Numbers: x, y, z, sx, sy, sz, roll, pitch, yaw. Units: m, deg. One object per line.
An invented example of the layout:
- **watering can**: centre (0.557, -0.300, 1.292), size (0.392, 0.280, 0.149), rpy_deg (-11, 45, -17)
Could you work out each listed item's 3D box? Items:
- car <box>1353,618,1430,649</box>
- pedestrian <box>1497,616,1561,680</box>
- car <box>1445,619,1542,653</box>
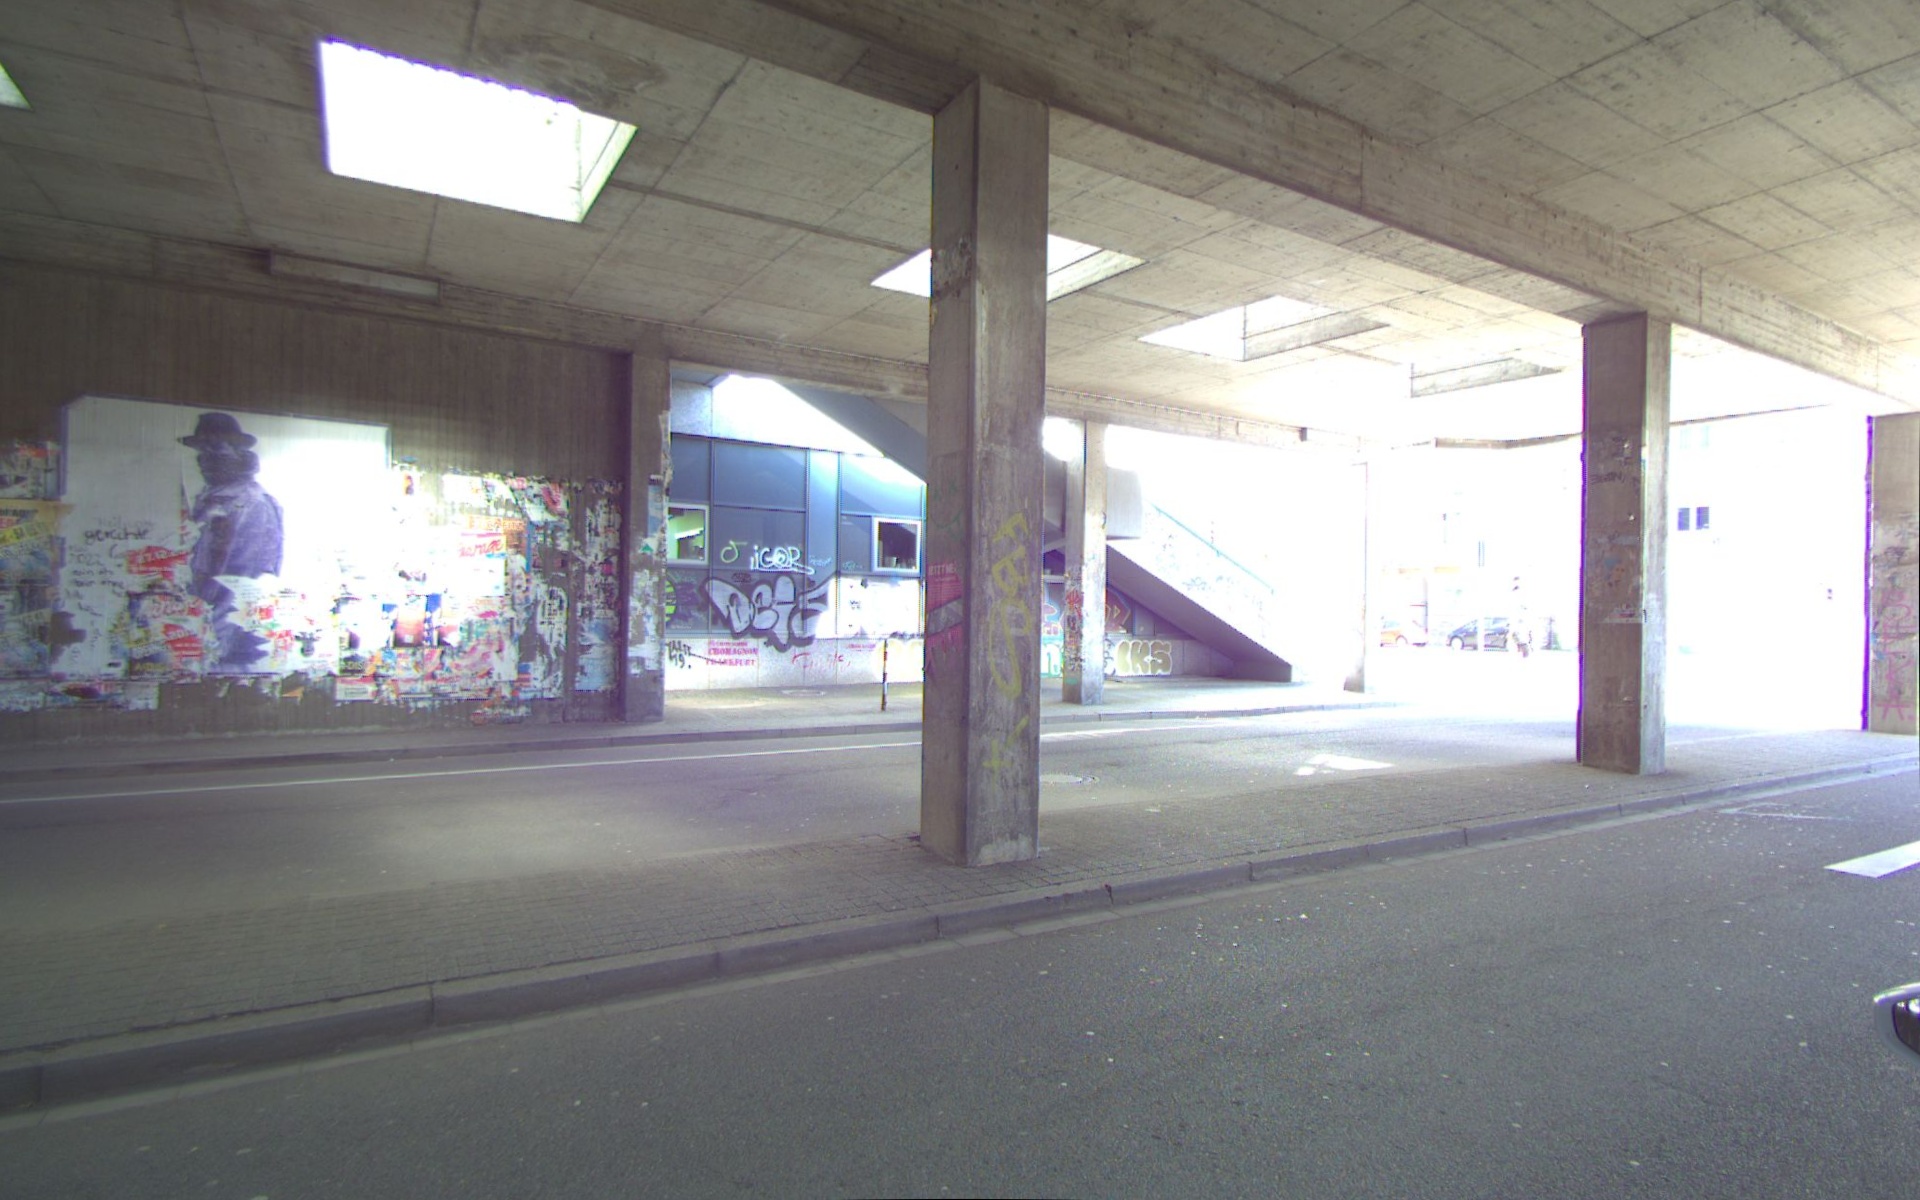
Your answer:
- **car**: centre (22.470, 1.716, 52.456), size (1.543, 1.526, 3.518), rpy_deg (1, -1, -29)
- **pedestrian**: centre (16.039, 1.349, 28.318), size (1.123, 1.760, 1.111), rpy_deg (1, -1, -17)
- **car**: centre (25.359, 1.669, 47.843), size (1.732, 1.528, 3.735), rpy_deg (1, -1, -31)
